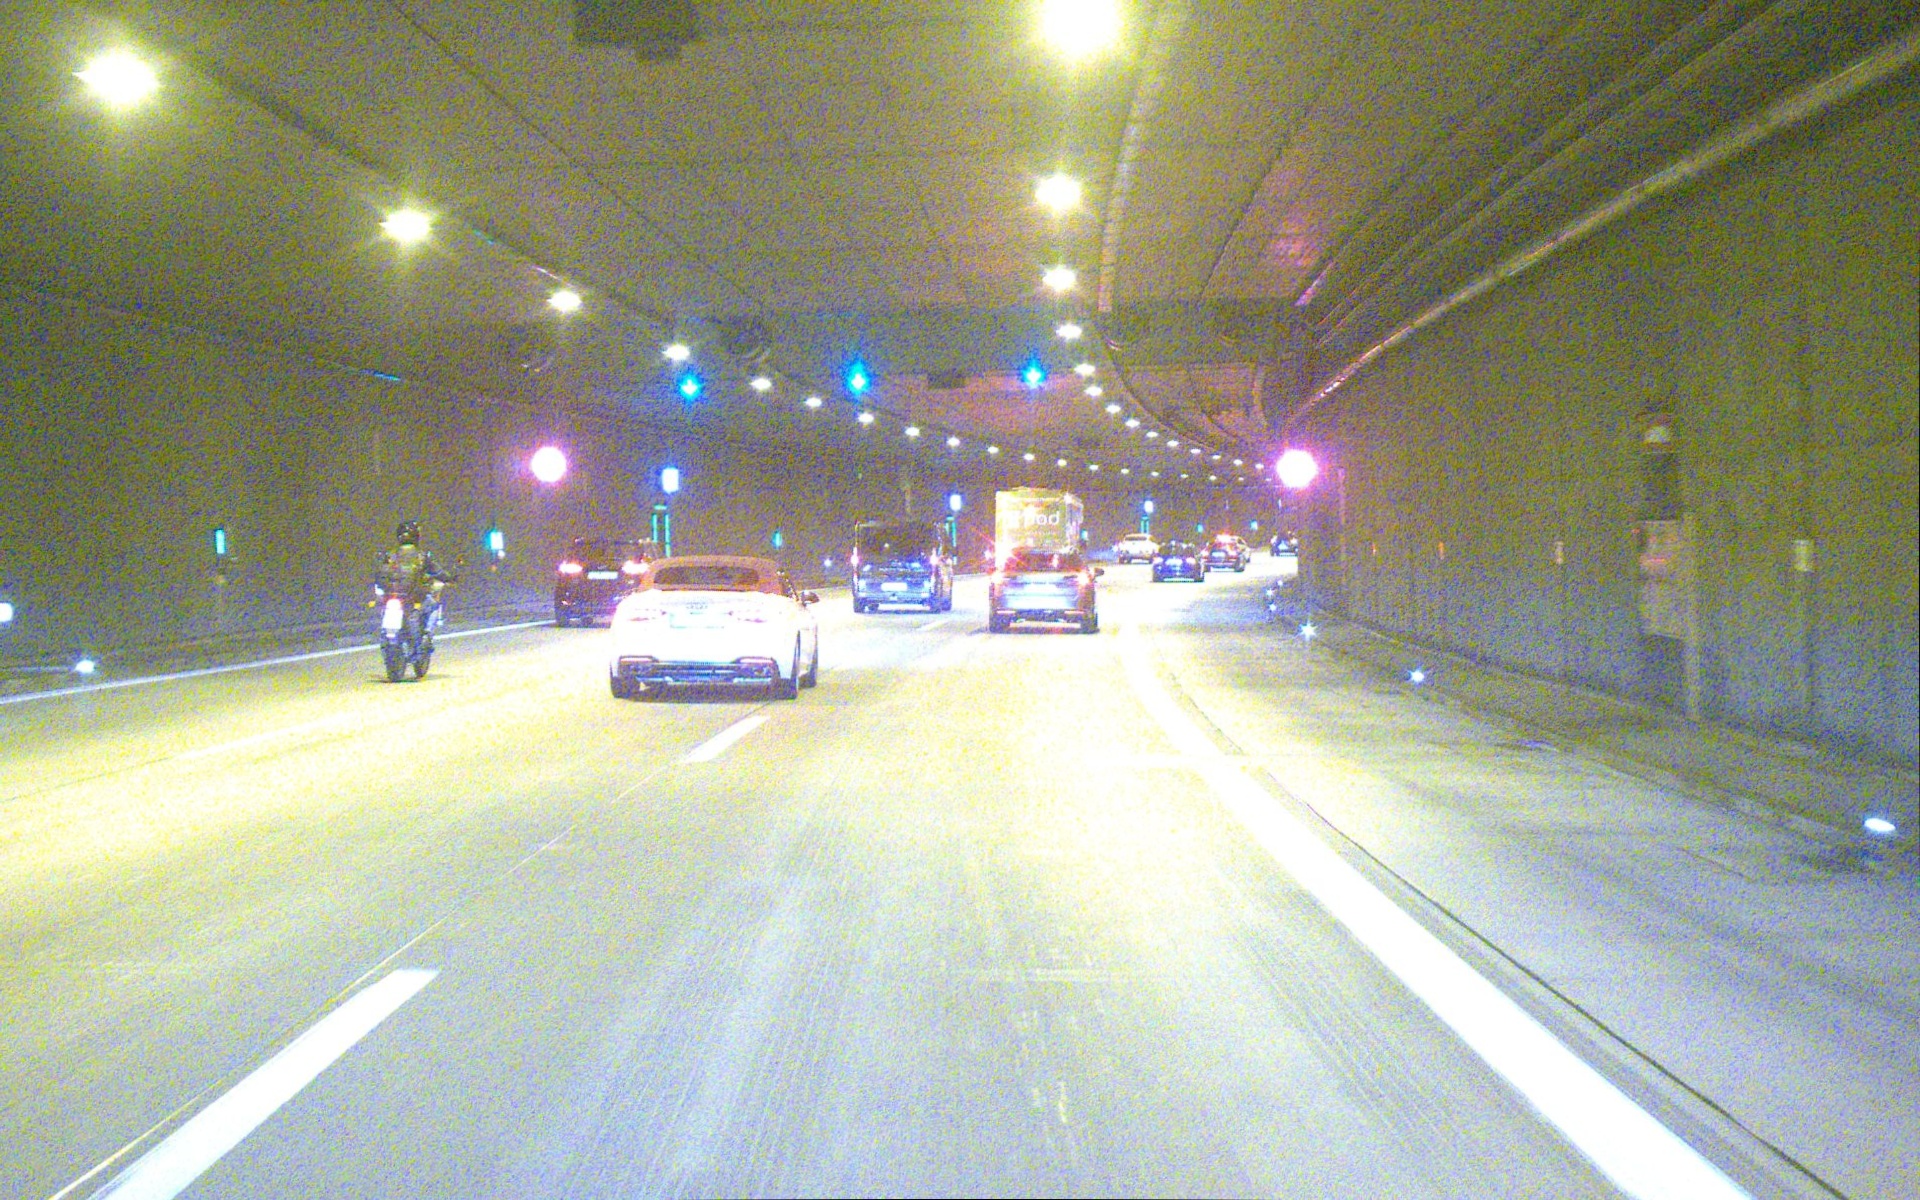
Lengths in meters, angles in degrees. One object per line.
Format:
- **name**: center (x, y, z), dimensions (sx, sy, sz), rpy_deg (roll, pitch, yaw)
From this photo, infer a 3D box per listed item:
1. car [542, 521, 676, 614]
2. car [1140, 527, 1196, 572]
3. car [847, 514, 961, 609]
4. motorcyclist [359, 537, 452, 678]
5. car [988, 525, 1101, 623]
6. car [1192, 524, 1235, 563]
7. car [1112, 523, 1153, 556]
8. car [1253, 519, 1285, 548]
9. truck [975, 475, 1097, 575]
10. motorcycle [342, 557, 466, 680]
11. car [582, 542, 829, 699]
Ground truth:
- **car**: center (-6.183, -0.588, 60.902), dimensions (1.785, 1.593, 3.801), rpy_deg (0, 1, 3)
- **car**: center (7.603, -1.868, 126.015), dimensions (1.844, 1.562, 4.000), rpy_deg (-2, 1, 1)
- **car**: center (-1.174, -0.842, 73.710), dimensions (1.994, 1.965, 3.999), rpy_deg (1, 1, 5)
- **motorcyclist**: center (-5.915, 0.071, 36.736), dimensions (0.839, 1.472, 0.821), rpy_deg (1, 2, 2)
- **car**: center (1.455, -0.459, 59.055), dimensions (1.840, 1.596, 4.000), rpy_deg (-1, 1, 2)
- **car**: center (11.413, -2.563, 154.538), dimensions (1.859, 1.660, 4.000), rpy_deg (-2, 1, 5)
- **car**: center (9.106, -3.204, 181.482), dimensions (1.831, 1.612, 3.999), rpy_deg (-2, 1, 7)
- **car**: center (19.009, -4.116, 211.439), dimensions (1.834, 1.685, 3.999), rpy_deg (-2, 1, 6)
- **truck**: center (2.691, -2.642, 117.797), dimensions (3.083, 3.102, 10.027), rpy_deg (-3, 2, 7)
- **motorcycle**: center (-5.890, 0.174, 36.587), dimensions (0.845, 1.241, 2.604), rpy_deg (0, 1, 1)
- **car**: center (-2.482, 0.159, 34.424), dimensions (1.994, 1.478, 4.000), rpy_deg (0, 1, 3)
